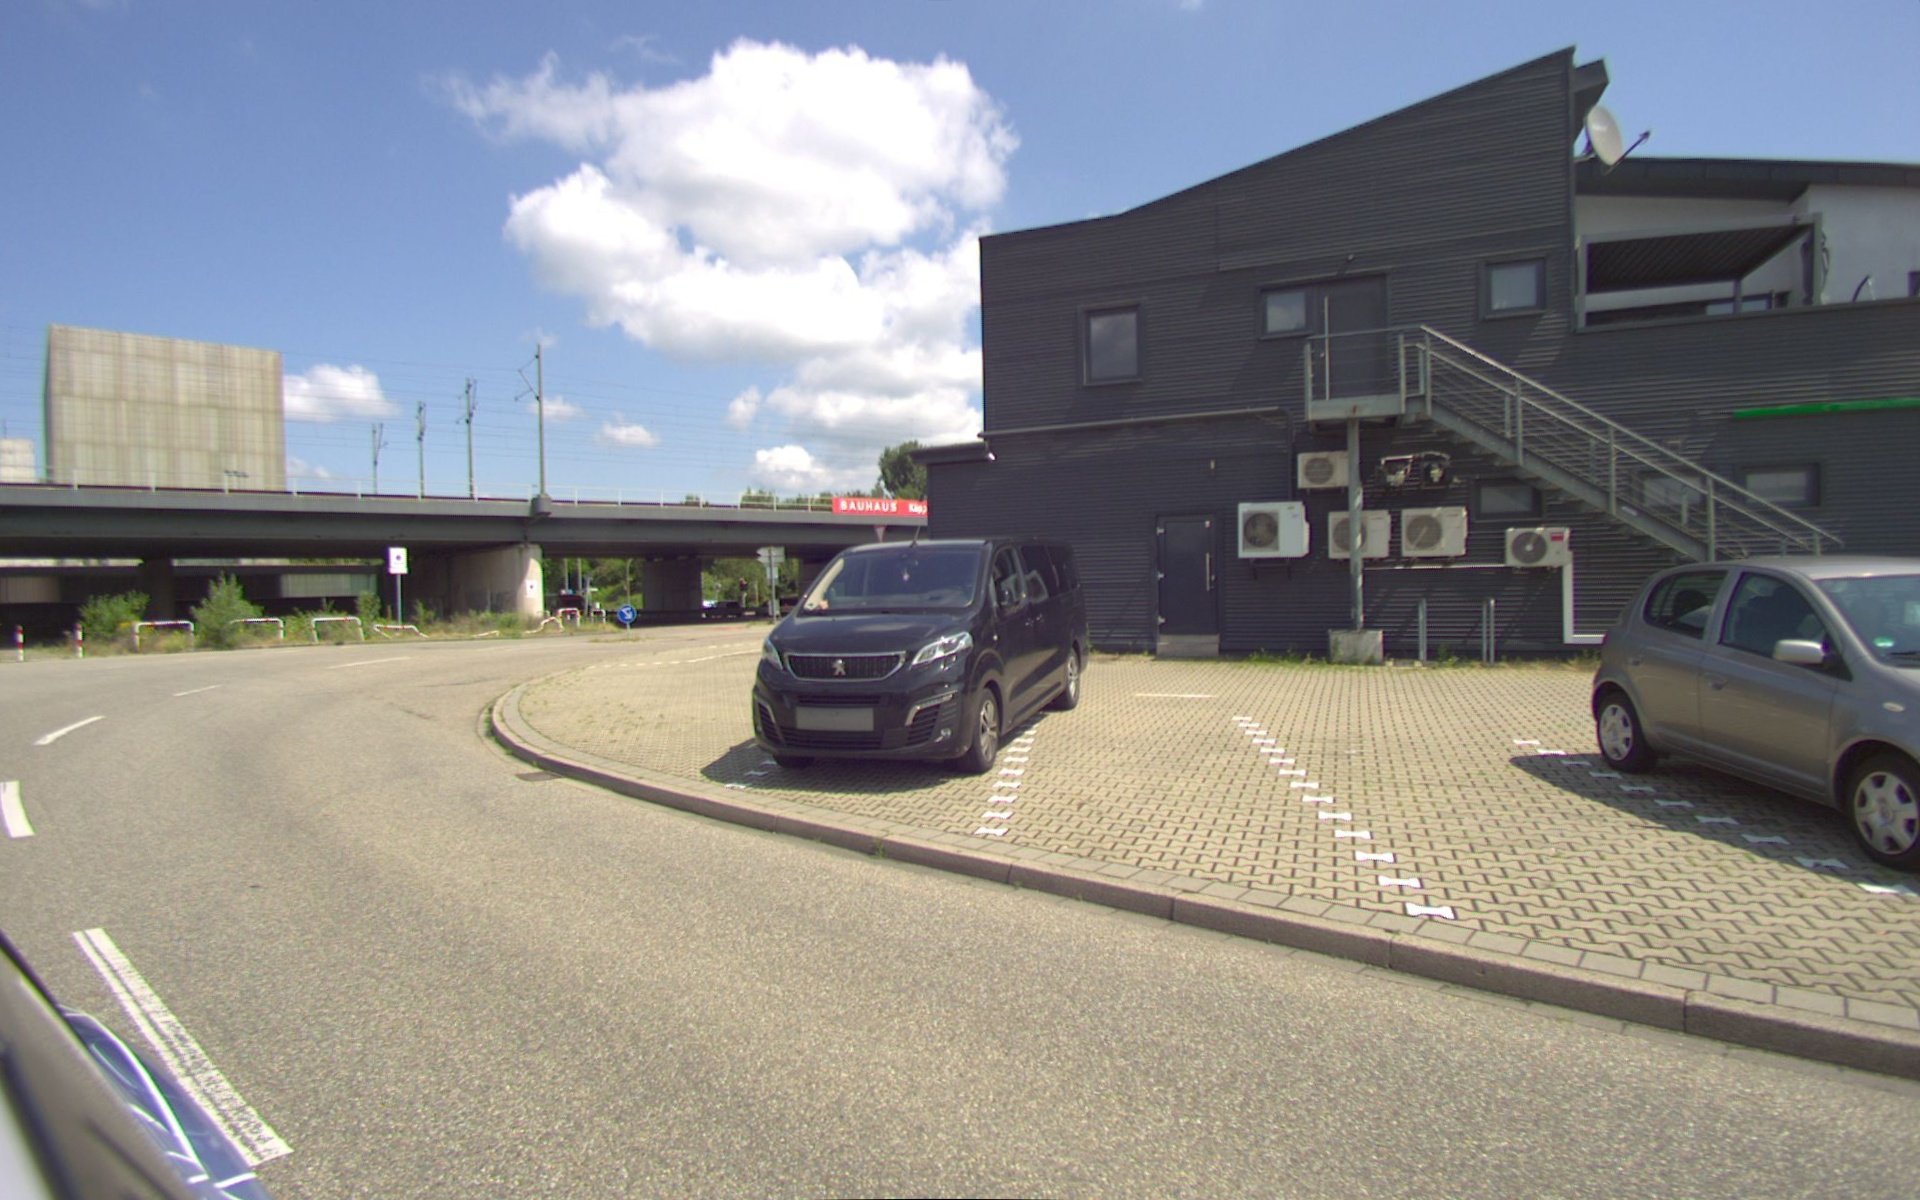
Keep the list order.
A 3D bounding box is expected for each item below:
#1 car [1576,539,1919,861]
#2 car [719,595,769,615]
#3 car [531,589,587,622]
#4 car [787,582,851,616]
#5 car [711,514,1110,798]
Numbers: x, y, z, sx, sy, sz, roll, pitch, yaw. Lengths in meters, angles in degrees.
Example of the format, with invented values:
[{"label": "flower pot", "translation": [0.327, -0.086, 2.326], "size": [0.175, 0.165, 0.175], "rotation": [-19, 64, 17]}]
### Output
[{"label": "car", "translation": [5.411, 0.410, 5.691], "size": [1.774, 1.487, 3.691], "rotation": [-2, 2, 4]}, {"label": "car", "translation": [-19.320, 0.446, 90.731], "size": [3.941, 1.696, 2.001], "rotation": [-1, 0, -44]}, {"label": "car", "translation": [-30.292, 0.392, 76.400], "size": [4.478, 2.386, 2.047], "rotation": [-1, 1, 41]}, {"label": "car", "translation": [-10.522, -0.050, 75.274], "size": [4.870, 2.386, 2.047], "rotation": [-1, 1, 41]}, {"label": "car", "translation": [-0.037, 0.253, 9.688], "size": [1.984, 1.930, 5.312], "rotation": [-1, 3, 19]}]
